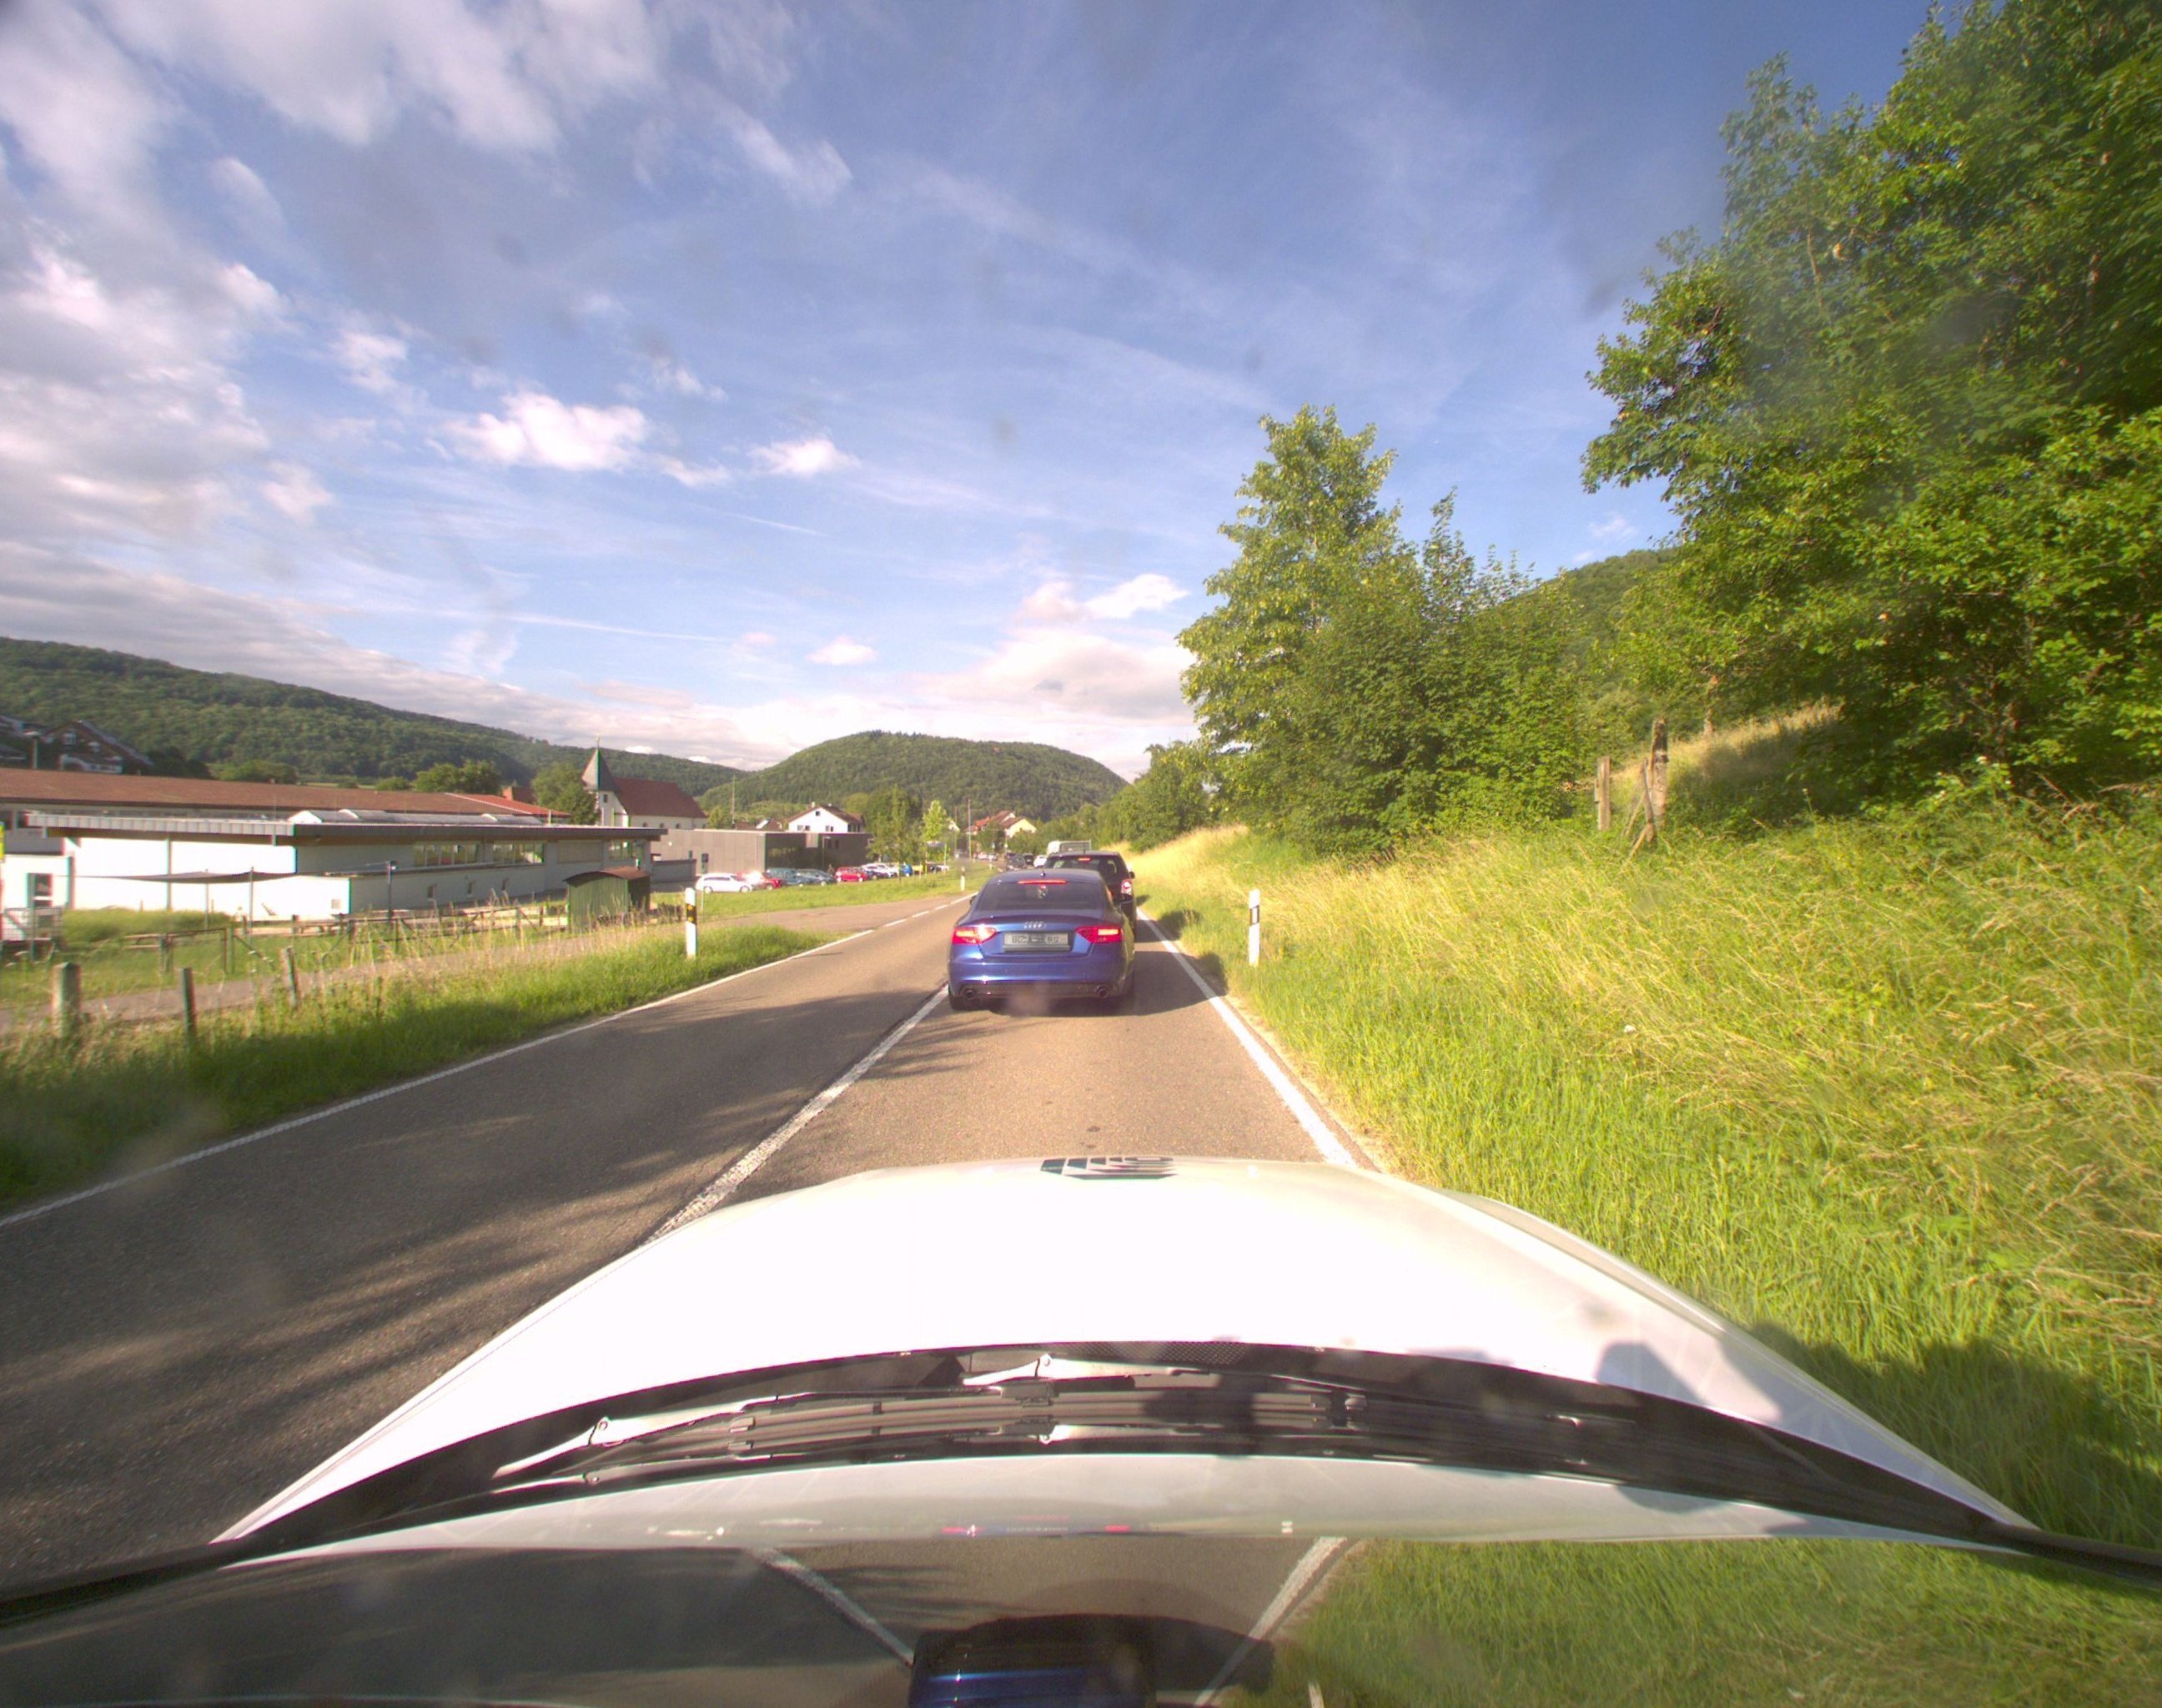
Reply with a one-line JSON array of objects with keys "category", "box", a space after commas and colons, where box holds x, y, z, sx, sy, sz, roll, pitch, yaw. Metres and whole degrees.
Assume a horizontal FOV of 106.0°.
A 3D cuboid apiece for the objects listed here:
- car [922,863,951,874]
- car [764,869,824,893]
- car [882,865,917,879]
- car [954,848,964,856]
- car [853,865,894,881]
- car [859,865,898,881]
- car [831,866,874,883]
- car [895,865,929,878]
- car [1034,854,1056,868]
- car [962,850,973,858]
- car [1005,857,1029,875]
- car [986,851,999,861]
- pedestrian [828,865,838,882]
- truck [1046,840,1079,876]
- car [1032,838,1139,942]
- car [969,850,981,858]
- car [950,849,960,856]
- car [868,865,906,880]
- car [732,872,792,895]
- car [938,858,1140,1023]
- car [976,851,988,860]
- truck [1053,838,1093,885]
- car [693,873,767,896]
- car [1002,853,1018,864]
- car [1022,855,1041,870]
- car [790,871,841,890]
[{"category": "car", "box": [-21.227, 2.143, 119.699, 3.975, 1.579, 1.752, 0, -1, -1]}, {"category": "car", "box": [-24.828, 2.297, 70.553, 4.393, 2.008, 1.999, 0, -1, -1]}, {"category": "car", "box": [-22.842, 2.244, 102.701, 3.975, 1.711, 1.999, 0, -1, -1]}, {"category": "car", "box": [-29.068, -0.420, 193.939, 1.850, 1.712, 3.978, 0, -1, -16]}, {"category": "car", "box": [-22.900, 2.130, 89.968, 3.975, 1.711, 1.999, 0, -1, -1]}, {"category": "car", "box": [-23.269, 2.166, 93.634, 3.975, 1.711, 1.999, 0, -1, -1]}, {"category": "car", "box": [-23.934, 2.096, 85.412, 3.975, 1.711, 1.999, 0, -1, -1]}, {"category": "car", "box": [-21.847, 2.260, 105.337, 3.975, 1.711, 1.999, 0, -1, -1]}, {"category": "car", "box": [-3.812, 0.760, 85.782, 1.845, 1.482, 3.987, 0, -1, -10]}, {"category": "car", "box": [-25.423, 0.025, 182.433, 1.850, 1.712, 3.978, 0, -1, -16]}, {"category": "car", "box": [-5.383, 1.010, 68.090, 1.703, 1.430, 4.039, 0, -1, -8]}, {"category": "car", "box": [-16.294, 0.353, 149.531, 1.848, 1.712, 3.981, 0, -1, -14]}, {"category": "pedestrian", "box": [-28.965, 2.280, 95.038, 0.822, 2.014, 0.973, 0, -1, 1]}, {"category": "truck", "box": [-1.441, 0.320, 61.230, 2.225, 2.570, 6.698, 0, -1, -4]}, {"category": "car", "box": [0.166, 0.610, 15.289, 1.747, 1.681, 3.849, 0, -1, 2]}, {"category": "car", "box": [-22.444, 0.053, 171.936, 1.850, 1.712, 3.978, 0, -1, -16]}, {"category": "car", "box": [-31.344, -0.400, 202.674, 1.850, 1.712, 3.978, 0, -1, -16]}, {"category": "car", "box": [-23.071, 2.194, 96.916, 3.975, 1.711, 1.999, 0, -1, -1]}, {"category": "car", "box": [-25.386, 2.318, 64.846, 3.975, 1.711, 1.999, 0, -1, -1]}, {"category": "car", "box": [-0.278, 0.771, 8.997, 1.747, 1.430, 3.849, 0, -1, 2]}, {"category": "car", "box": [-19.523, 0.315, 160.721, 1.850, 1.712, 3.978, 0, -1, -16]}, {"category": "truck", "box": [-0.420, 0.449, 48.544, 2.222, 2.570, 6.102, 0, -1, 0]}, {"category": "car", "box": [-26.574, 2.299, 61.730, 4.717, 1.711, 1.999, 0, -1, -1]}, {"category": "car", "box": [-11.091, 0.700, 127.365, 1.848, 1.712, 3.981, 0, -1, -14]}, {"category": "car", "box": [-6.059, 1.015, 98.911, 1.845, 1.712, 3.987, 0, -1, -10]}, {"category": "car", "box": [-24.298, 2.398, 74.675, 3.975, 1.711, 1.999, 0, -1, -1]}]
